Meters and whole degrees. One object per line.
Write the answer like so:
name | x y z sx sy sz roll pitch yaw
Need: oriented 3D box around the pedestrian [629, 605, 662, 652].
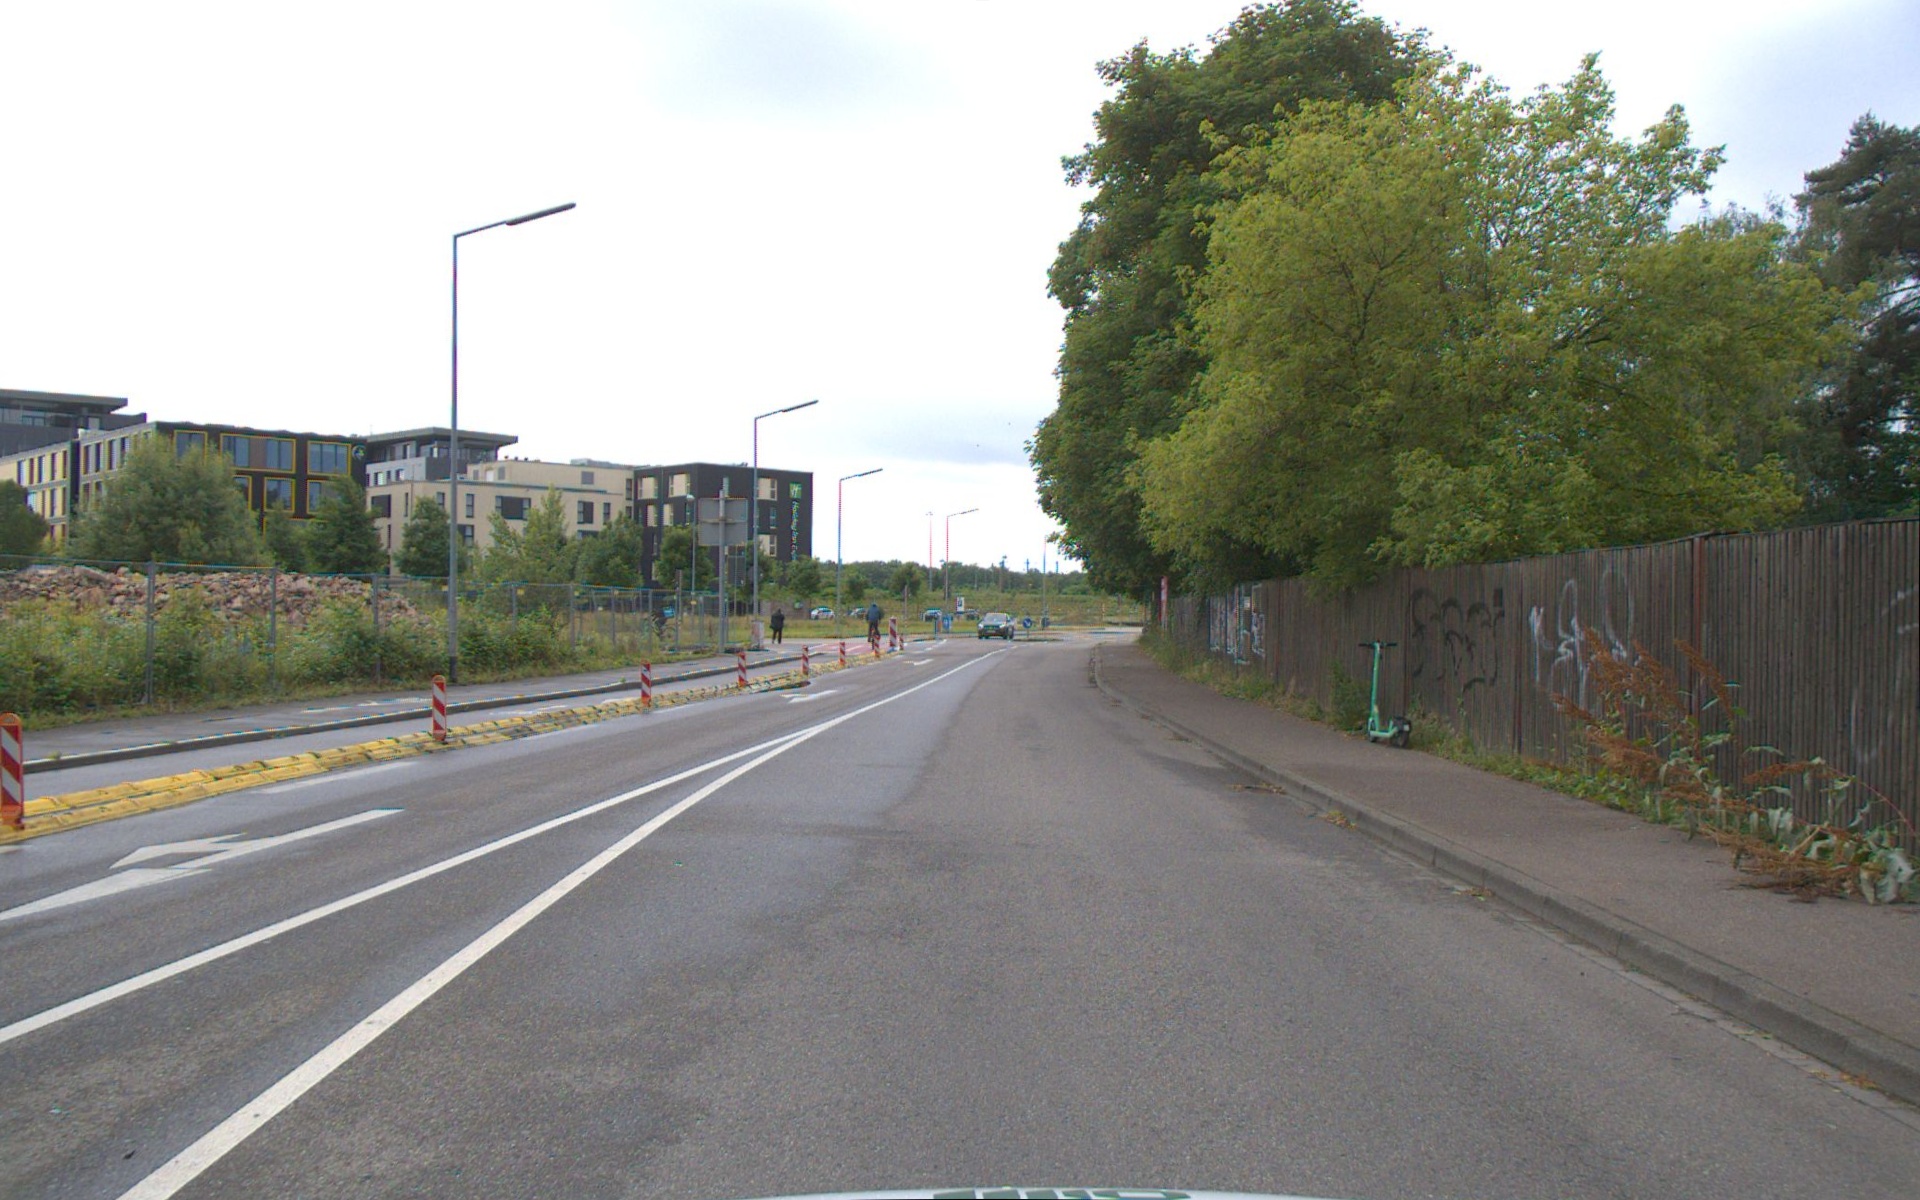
pedestrian | -12.911 1.159 67.907 1.148 1.879 0.735 0 0 19

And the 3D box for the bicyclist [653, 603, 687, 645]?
bicyclist | -13.654 1.127 77.811 1.378 1.932 1.070 0 0 -22

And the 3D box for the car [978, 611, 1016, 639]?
car | 2.320 1.541 103.021 1.841 1.594 4.362 0 0 9

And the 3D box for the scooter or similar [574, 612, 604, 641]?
scooter or similar | -15.452 1.110 68.947 1.311 1.162 0.410 1 -2 36

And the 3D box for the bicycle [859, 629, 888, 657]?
bicycle | -3.573 1.780 68.554 0.865 1.071 2.470 0 0 4

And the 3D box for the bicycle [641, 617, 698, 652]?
bicycle | -13.672 1.613 77.815 2.459 1.612 1.079 0 0 -24

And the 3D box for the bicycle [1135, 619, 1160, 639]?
bicycle | 10.993 1.680 96.771 0.780 1.130 1.949 0 -1 28

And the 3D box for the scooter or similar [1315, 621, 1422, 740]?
scooter or similar | 4.975 0.949 20.309 0.677 1.335 2.352 0 0 -1

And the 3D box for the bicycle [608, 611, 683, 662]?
bicycle | -12.915 1.477 67.895 3.062 2.049 0.674 0 0 20

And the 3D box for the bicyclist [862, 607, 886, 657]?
bicyclist | -3.569 1.305 68.576 0.843 2.049 1.178 0 0 4

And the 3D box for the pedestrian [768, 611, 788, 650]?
pedestrian | -8.729 1.453 79.309 0.826 1.814 1.077 0 0 1

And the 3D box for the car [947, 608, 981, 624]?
car | 0.478 1.889 196.513 1.984 1.854 3.938 0 0 -42
